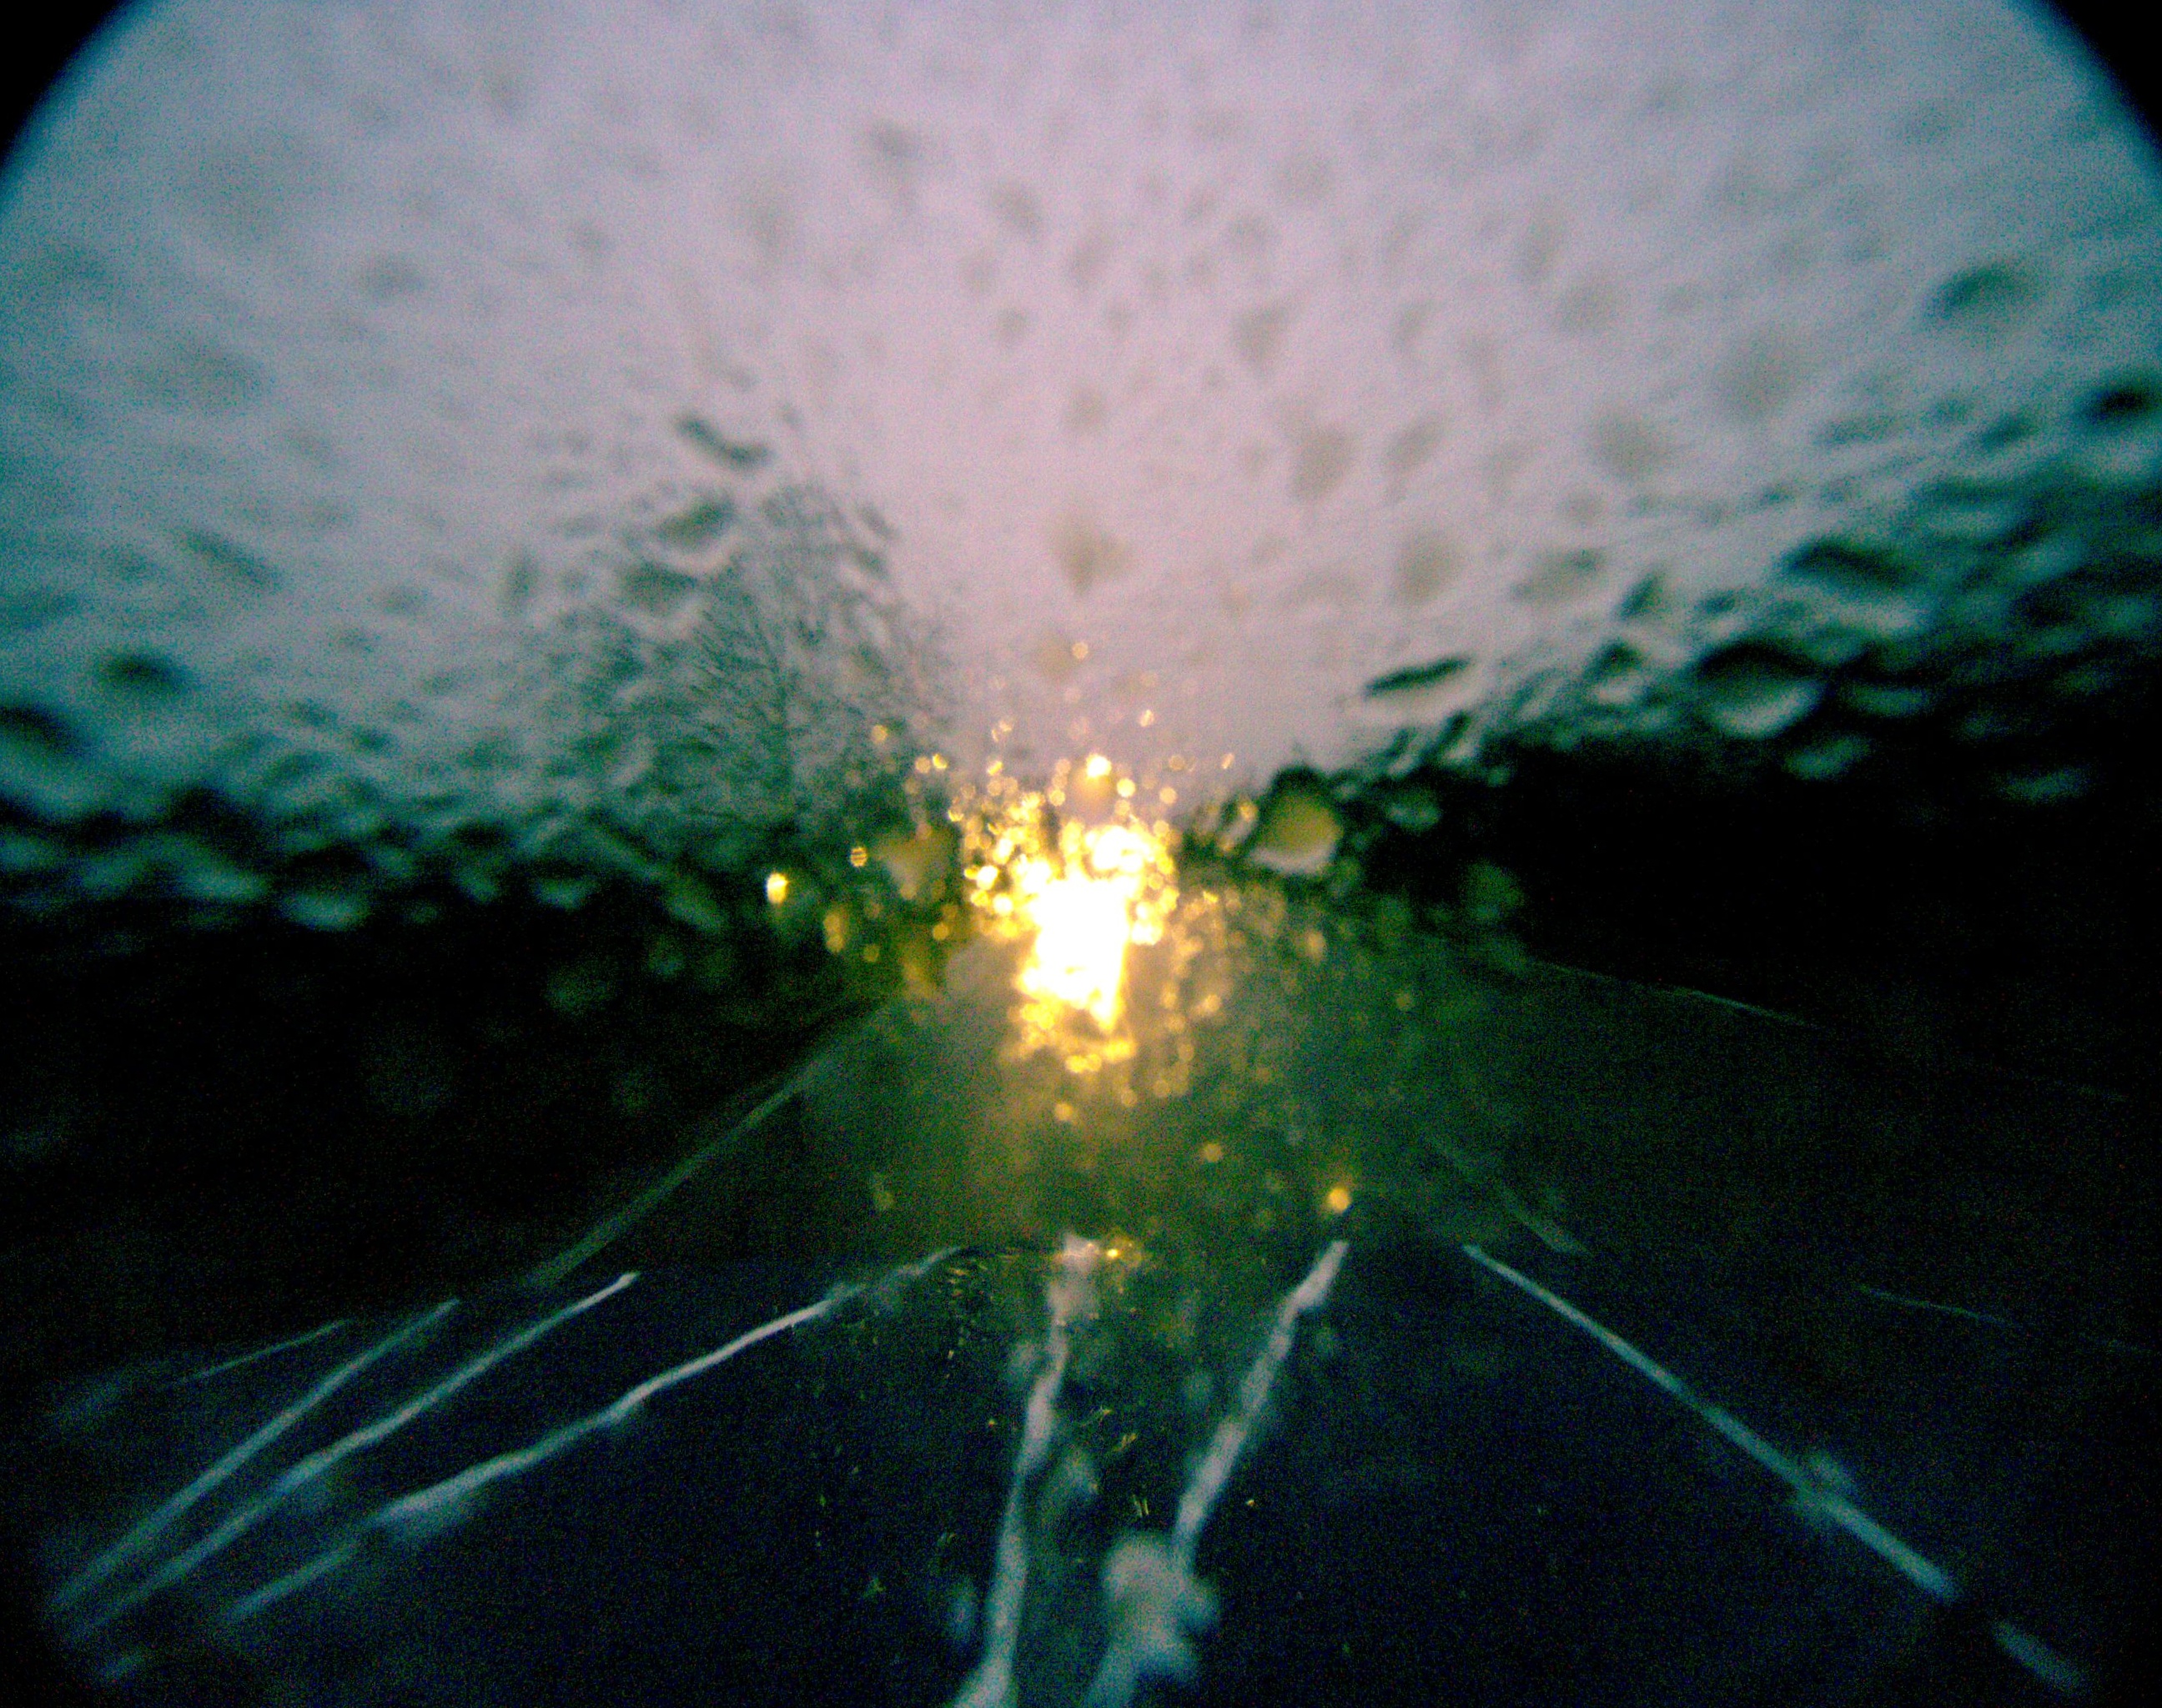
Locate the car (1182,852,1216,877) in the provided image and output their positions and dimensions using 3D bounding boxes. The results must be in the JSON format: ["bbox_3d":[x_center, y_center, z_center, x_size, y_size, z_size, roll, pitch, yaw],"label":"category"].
[{"bbox_3d":[7.895,0.650,51.148,1.780,1.599,3.773,-1,1,1],"label":"car"}]

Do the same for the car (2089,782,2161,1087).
[{"bbox_3d":[7.222,0.439,2.692,1.998,1.774,4.000,-3,0,1],"label":"car"}]

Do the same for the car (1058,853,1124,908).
[{"bbox_3d":[0.441,0.843,26.159,1.998,1.601,4.001,-3,0,4],"label":"car"}]
